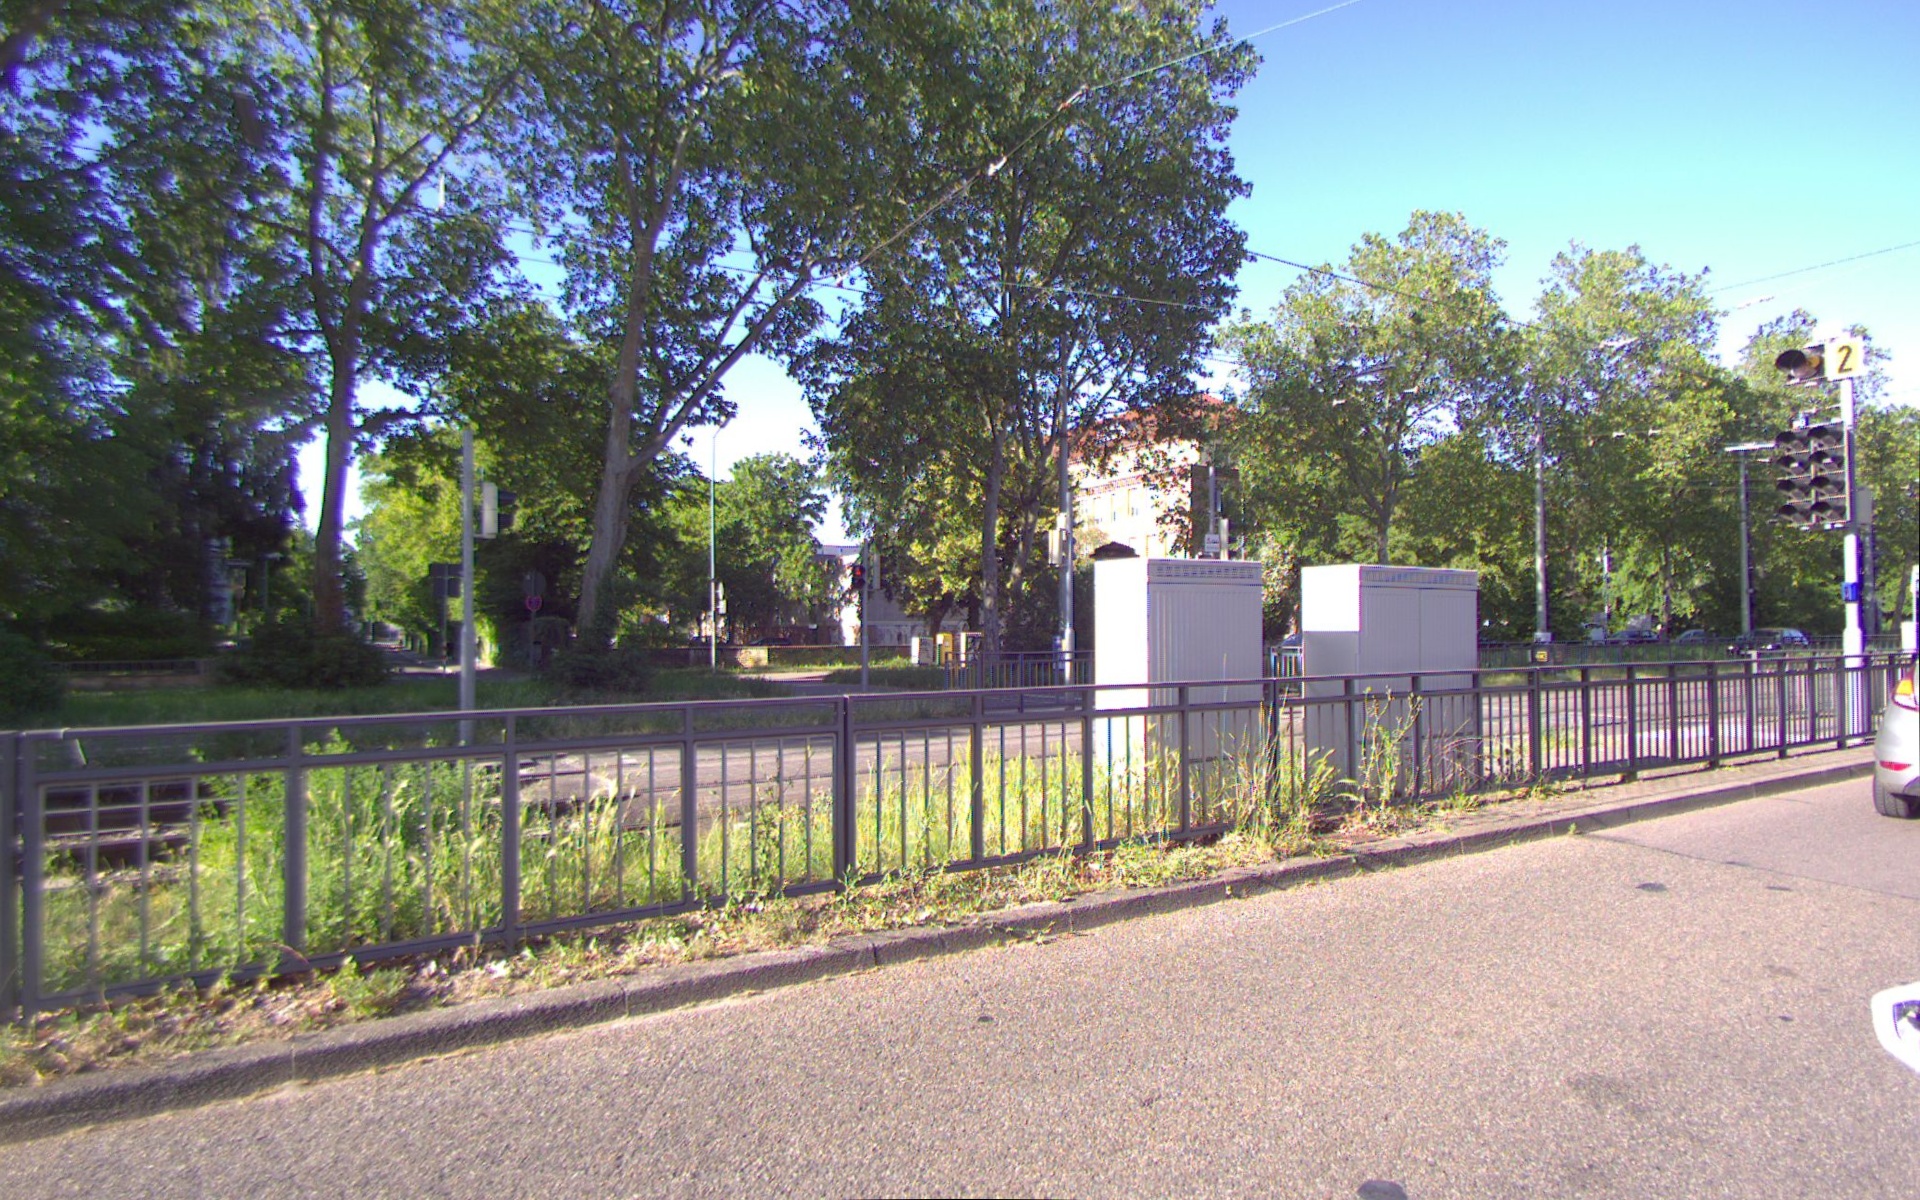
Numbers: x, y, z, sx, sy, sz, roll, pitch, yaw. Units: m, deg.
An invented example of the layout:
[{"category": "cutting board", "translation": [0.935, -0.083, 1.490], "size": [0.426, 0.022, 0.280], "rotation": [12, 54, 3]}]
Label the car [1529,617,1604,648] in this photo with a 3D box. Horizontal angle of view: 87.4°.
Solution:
[{"category": "car", "translation": [31.377, 1.649, 51.916], "size": [4.098, 1.529, 1.660], "rotation": [0, -1, -32]}]

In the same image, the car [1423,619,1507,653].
[{"category": "car", "translation": [23.887, 1.692, 47.466], "size": [4.098, 1.529, 1.661], "rotation": [1, -2, -32]}]

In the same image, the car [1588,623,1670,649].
[{"category": "car", "translation": [36.659, 1.969, 54.990], "size": [4.795, 1.367, 1.926], "rotation": [2, -2, -32]}]

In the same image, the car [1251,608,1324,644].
[{"category": "car", "translation": [19.325, 1.503, 59.218], "size": [3.953, 2.040, 1.984], "rotation": [0, -1, -30]}]

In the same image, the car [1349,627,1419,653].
[{"category": "car", "translation": [25.367, 2.381, 60.261], "size": [1.375, 1.514, 3.974], "rotation": [0, -1, -26]}]

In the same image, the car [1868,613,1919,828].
[{"category": "car", "translation": [8.521, 0.840, 7.616], "size": [3.850, 1.487, 1.599], "rotation": [0, -1, -35]}]

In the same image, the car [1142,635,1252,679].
[{"category": "car", "translation": [9.046, 2.133, 38.253], "size": [4.098, 1.529, 1.660], "rotation": [0, -1, -32]}]

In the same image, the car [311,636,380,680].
[{"category": "car", "translation": [-22.310, 2.073, 36.591], "size": [1.976, 1.437, 3.969], "rotation": [0, -1, -29]}]

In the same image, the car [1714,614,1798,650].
[{"category": "car", "translation": [35.297, 1.402, 44.501], "size": [4.297, 1.518, 1.674], "rotation": [0, -1, -33]}]
